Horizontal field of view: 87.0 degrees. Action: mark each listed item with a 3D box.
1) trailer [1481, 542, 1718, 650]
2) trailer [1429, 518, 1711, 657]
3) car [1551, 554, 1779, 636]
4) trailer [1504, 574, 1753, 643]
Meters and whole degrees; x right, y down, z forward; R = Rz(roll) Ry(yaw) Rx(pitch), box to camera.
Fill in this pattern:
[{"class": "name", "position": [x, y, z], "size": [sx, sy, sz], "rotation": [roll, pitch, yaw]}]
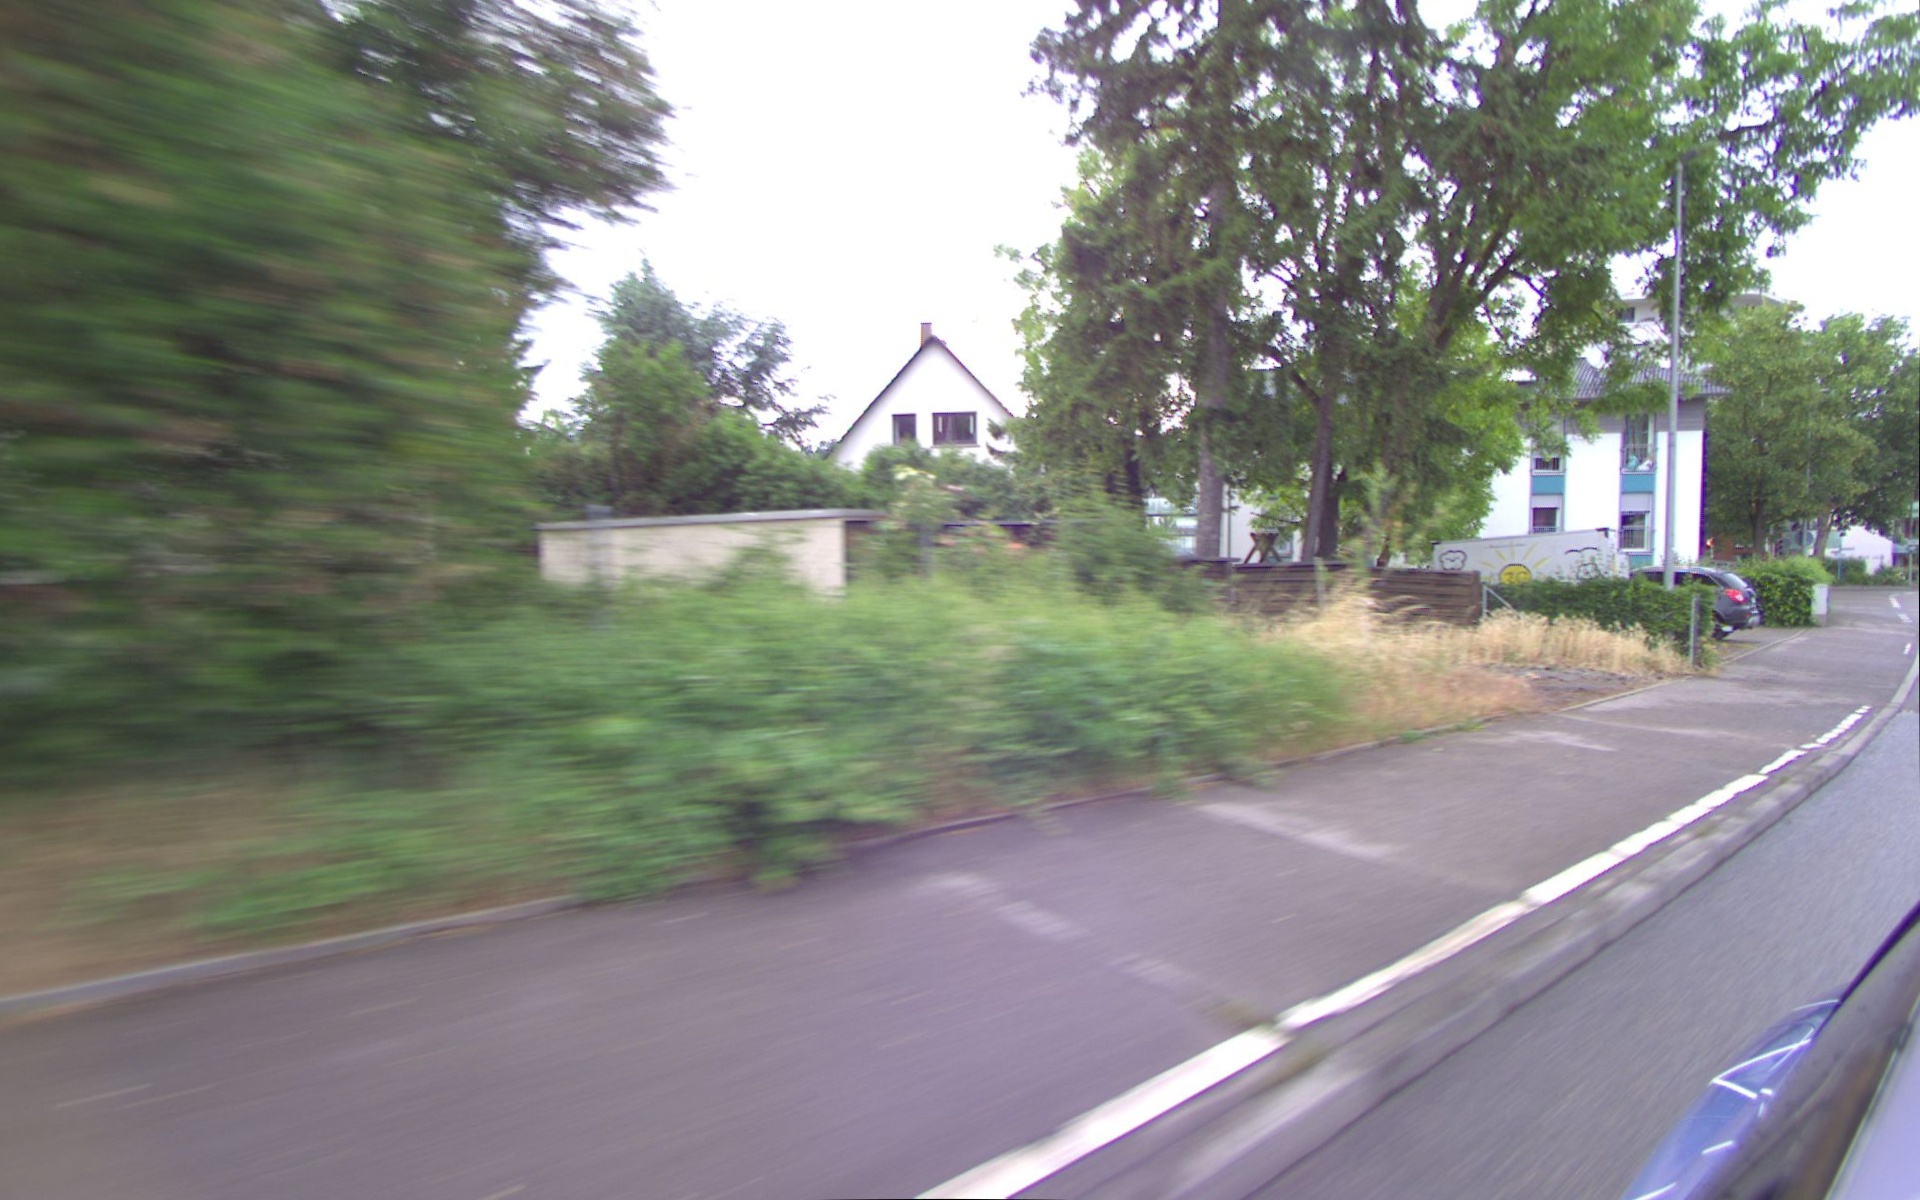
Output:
[{"class": "trailer", "position": [13.309, -0.134, 21.216], "size": [3.954, 2.047, 1.660], "rotation": [2, 2, 45]}, {"class": "trailer", "position": [11.864, -0.303, 19.837], "size": [4.526, 2.430, 1.923], "rotation": [2, 2, 38]}, {"class": "car", "position": [17.040, -0.182, 24.591], "size": [1.951, 1.771, 4.218], "rotation": [0, 2, -43]}, {"class": "trailer", "position": [14.779, 0.129, 22.564], "size": [1.546, 1.304, 4.400], "rotation": [0, 2, -45]}]
